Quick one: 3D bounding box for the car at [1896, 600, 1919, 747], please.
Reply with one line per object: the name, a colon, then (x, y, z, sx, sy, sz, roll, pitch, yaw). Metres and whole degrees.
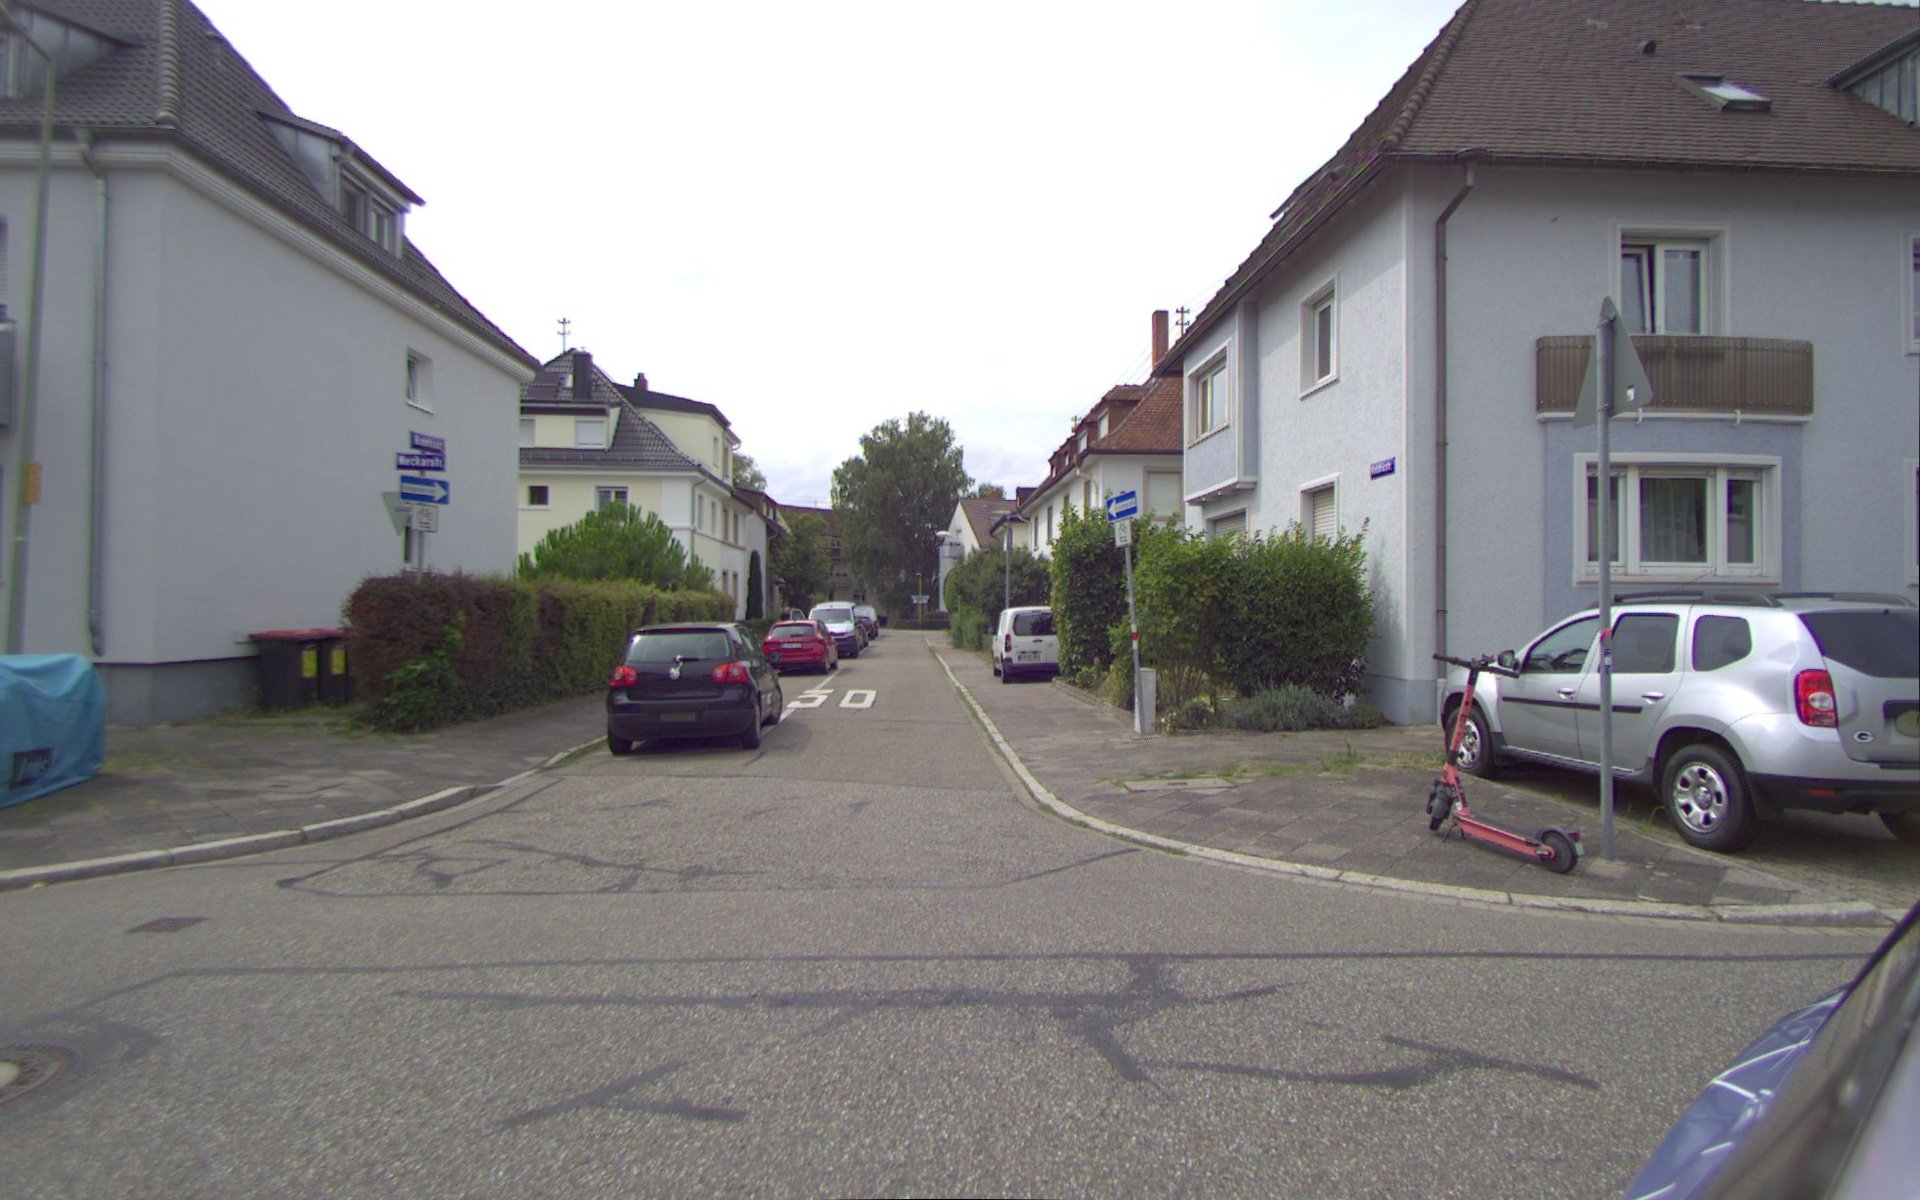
car: (10.411, 0.780, 8.263, 1.679, 1.439, 4.003, 0, 2, -3)

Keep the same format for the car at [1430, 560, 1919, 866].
car: (5.494, 0.574, 7.589, 1.831, 1.653, 3.941, 2, 2, -4)

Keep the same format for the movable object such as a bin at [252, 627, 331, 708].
movable object such as a bin: (-8.671, 0.866, 13.145, 0.686, 1.021, 0.521, 0, -1, -5)

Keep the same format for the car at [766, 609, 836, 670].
car: (-4.324, 1.030, 27.878, 1.630, 1.537, 3.817, 0, 0, -5)

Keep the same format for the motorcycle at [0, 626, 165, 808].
motorcycle: (-7.128, 0.827, 7.457, 0.921, 1.226, 2.202, 0, -1, -5)

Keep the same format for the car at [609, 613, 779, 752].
car: (-3.202, 0.907, 12.820, 1.629, 1.462, 3.819, 0, 0, -8)

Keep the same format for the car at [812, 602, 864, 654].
car: (-4.438, 0.989, 37.346, 1.770, 1.817, 3.817, 0, 0, -5)

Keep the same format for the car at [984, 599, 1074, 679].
car: (1.651, 0.914, 25.486, 1.671, 1.828, 3.817, -1, 0, -5)

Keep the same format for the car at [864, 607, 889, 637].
car: (-5.154, 1.322, 62.416, 1.515, 1.682, 3.643, 0, 1, -4)

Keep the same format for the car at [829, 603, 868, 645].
car: (-5.125, 1.089, 46.933, 1.721, 1.849, 4.299, 0, 0, -5)

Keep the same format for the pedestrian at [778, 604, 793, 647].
pedestrian: (-7.063, 1.031, 40.889, 0.548, 1.741, 0.616, 0, -1, -14)

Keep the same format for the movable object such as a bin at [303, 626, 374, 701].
movable object such as a bin: (-8.736, 0.888, 14.243, 0.686, 1.021, 0.521, 0, -1, -5)

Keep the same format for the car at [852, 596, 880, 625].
car: (-6.354, 0.678, 68.202, 1.873, 1.755, 3.773, 0, 1, -6)

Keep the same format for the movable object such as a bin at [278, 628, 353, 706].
movable object such as a bin: (-8.719, 0.897, 13.711, 0.686, 1.021, 0.521, 0, -1, -5)

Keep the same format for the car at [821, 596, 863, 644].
car: (-4.868, 0.808, 42.103, 1.630, 1.928, 3.817, 0, 0, -5)

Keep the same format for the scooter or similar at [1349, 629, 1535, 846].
scooter or similar: (3.224, 0.865, 6.872, 0.413, 1.259, 1.245, 0, 1, -15)
